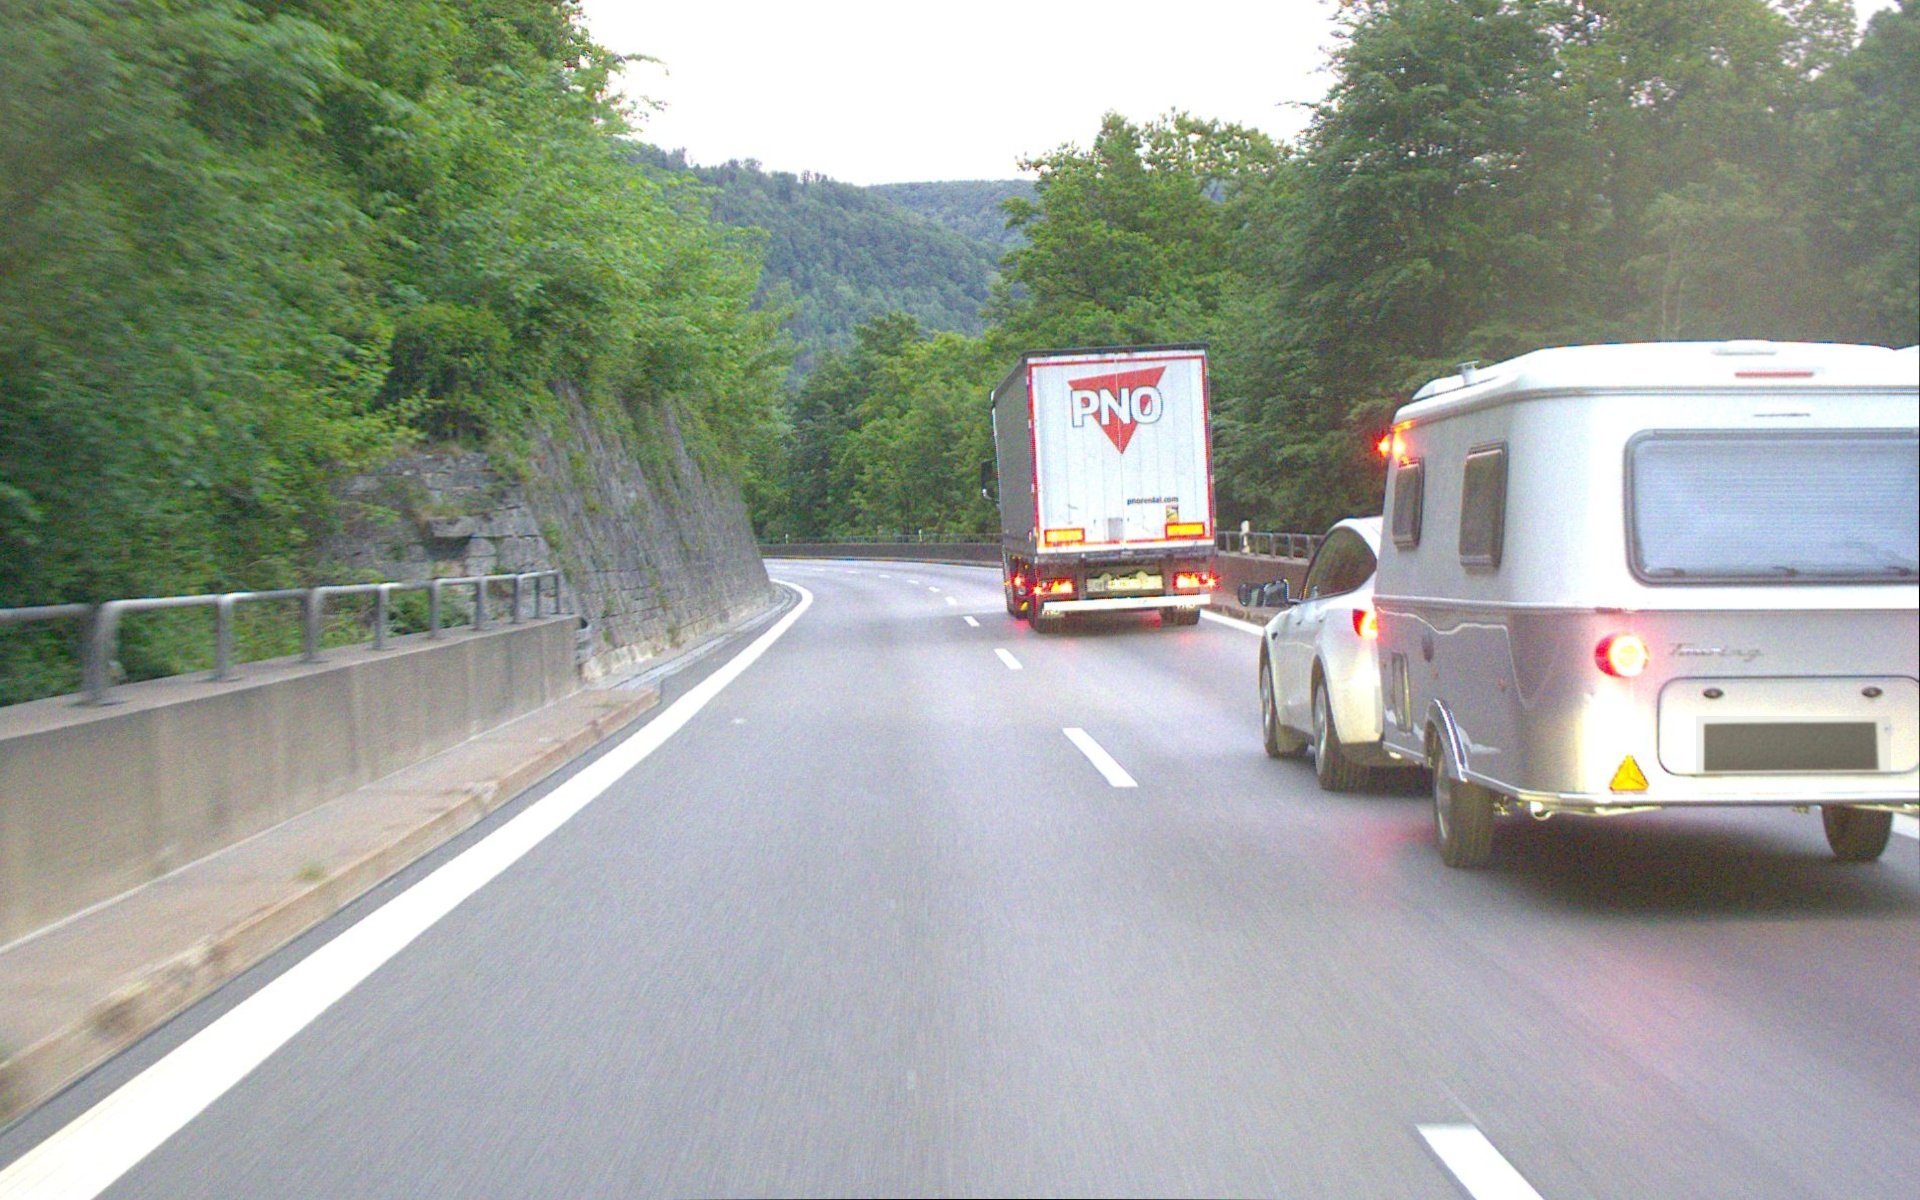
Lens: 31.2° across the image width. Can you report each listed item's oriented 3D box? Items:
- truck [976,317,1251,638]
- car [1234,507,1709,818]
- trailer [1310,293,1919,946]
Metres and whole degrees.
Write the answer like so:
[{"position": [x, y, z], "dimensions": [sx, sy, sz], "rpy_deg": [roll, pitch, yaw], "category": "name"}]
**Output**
[{"position": [2.128, -1.804, 55.046], "dimensions": [3.295, 4.158, 16.504], "rpy_deg": [-4, 1, 0], "category": "truck"}, {"position": [2.983, 0.302, 21.161], "dimensions": [1.993, 1.609, 4.865], "rpy_deg": [-2, 1, -2], "category": "car"}, {"position": [3.054, 0.000, 15.808], "dimensions": [2.054, 2.367, 5.938], "rpy_deg": [-3, 1, -1], "category": "trailer"}]
